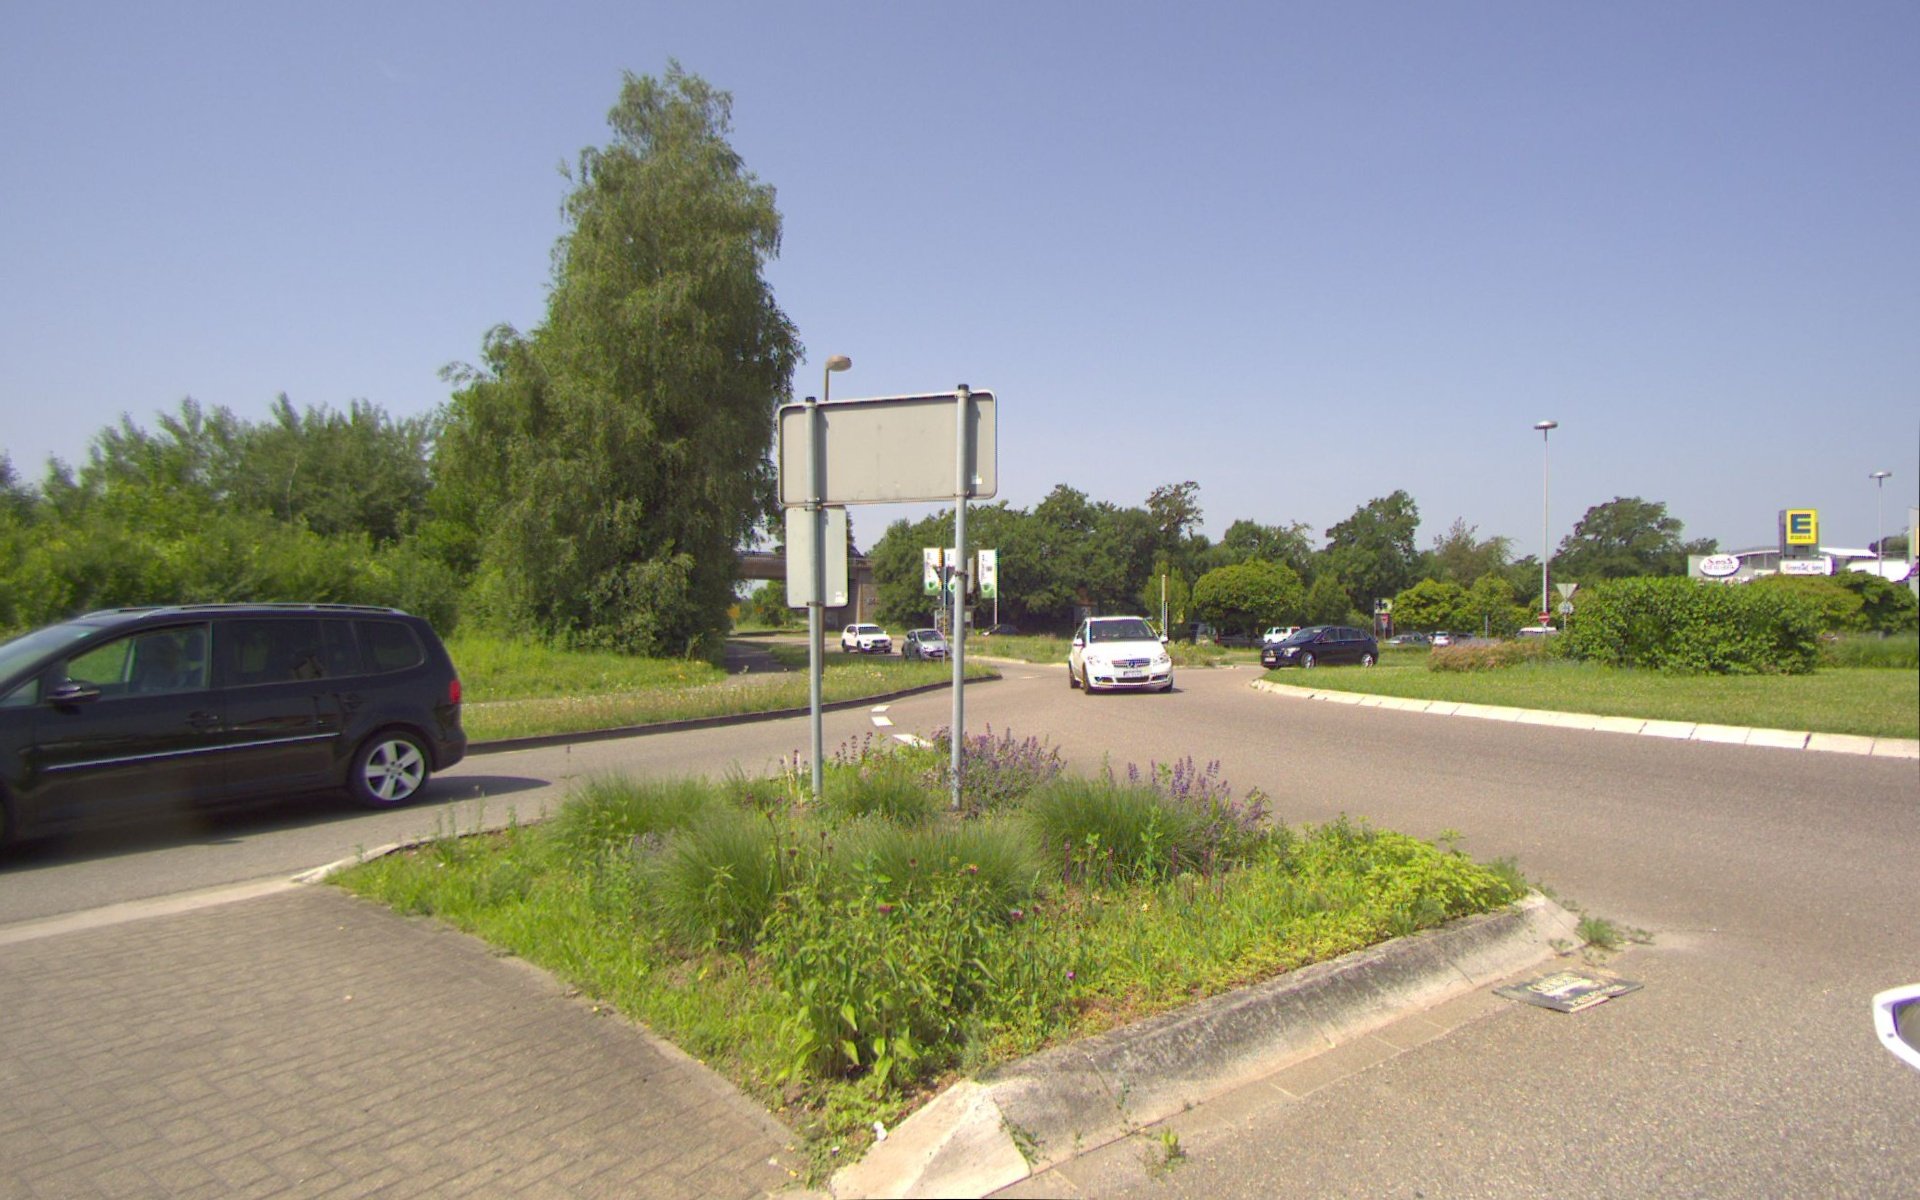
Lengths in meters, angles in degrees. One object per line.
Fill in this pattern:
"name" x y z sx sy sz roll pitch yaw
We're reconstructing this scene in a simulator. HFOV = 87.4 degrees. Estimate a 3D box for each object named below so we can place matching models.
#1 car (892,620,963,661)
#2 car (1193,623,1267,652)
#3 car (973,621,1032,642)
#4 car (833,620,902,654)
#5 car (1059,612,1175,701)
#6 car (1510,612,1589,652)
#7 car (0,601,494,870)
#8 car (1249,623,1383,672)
"car" -1.574 1.843 47.130 2.097 1.637 4.179 0 2 -20
"car" 16.245 2.263 60.334 4.359 1.582 1.859 2 0 -33
"car" 3.566 2.622 84.311 4.583 1.674 2.013 1 0 -30
"car" -5.295 2.062 56.907 2.169 1.674 5.086 1 0 -27
"car" 3.225 1.108 21.364 1.752 1.625 3.892 0 0 -2
"car" 32.288 1.760 55.037 3.943 2.040 1.684 2 0 -23
"car" -6.009 0.862 7.417 1.880 1.616 4.363 -2 -2 32
"car" 12.169 1.605 34.369 4.149 1.550 1.750 0 -2 -21
